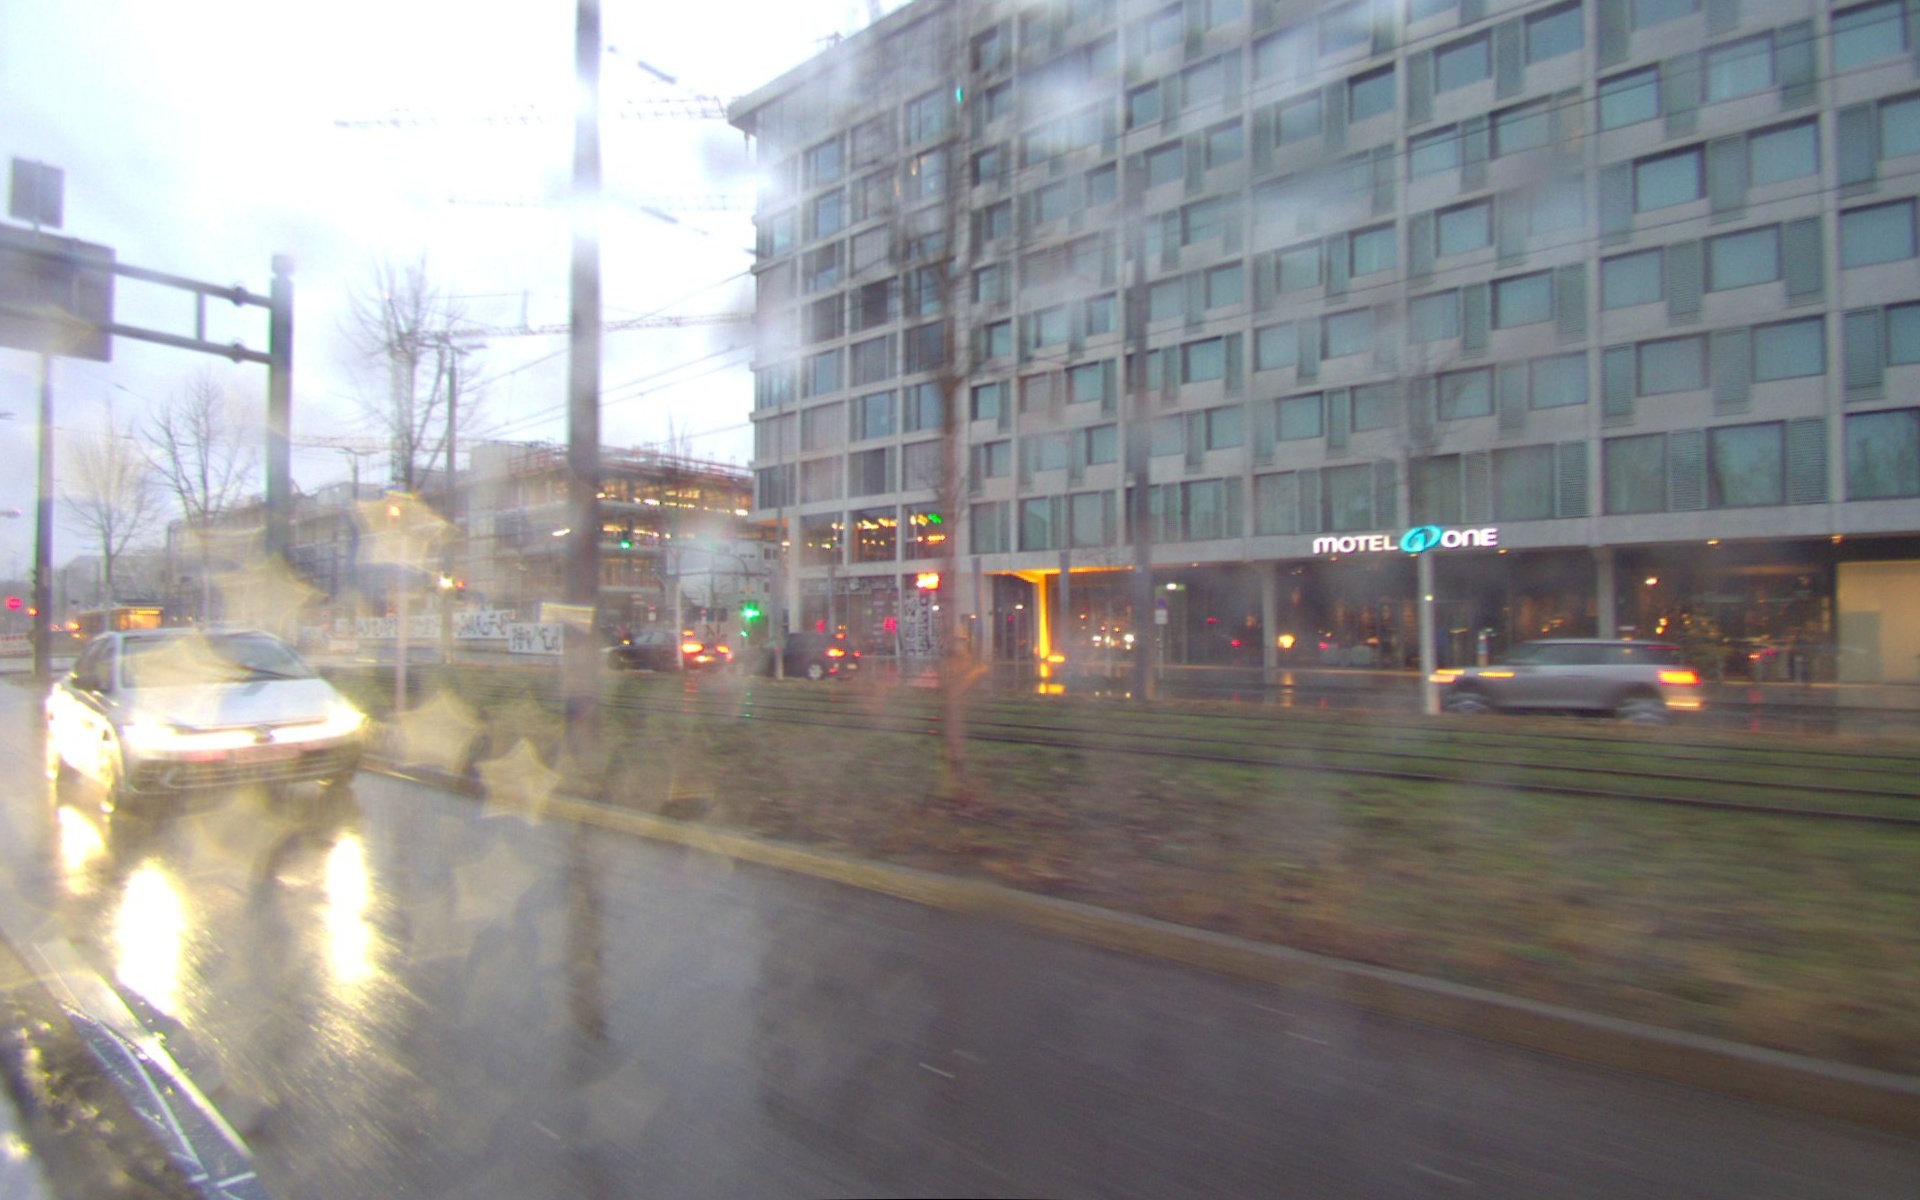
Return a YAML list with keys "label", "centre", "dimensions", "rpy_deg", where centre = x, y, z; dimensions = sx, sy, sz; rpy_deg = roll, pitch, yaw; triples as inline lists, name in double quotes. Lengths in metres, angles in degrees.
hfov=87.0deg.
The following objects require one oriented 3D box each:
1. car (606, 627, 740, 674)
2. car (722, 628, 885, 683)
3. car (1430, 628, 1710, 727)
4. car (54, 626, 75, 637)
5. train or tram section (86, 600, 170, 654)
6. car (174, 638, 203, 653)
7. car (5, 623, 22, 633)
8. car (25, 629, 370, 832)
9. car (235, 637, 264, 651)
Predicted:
- label: "car"
  centre: [-9.724, 1.652, 34.038]
  dimensions: [5.032, 1.479, 1.972]
  rpy_deg: [-2, -3, 42]
- label: "car"
  centre: [-4.584, 1.578, 29.616]
  dimensions: [4.425, 1.508, 1.983]
  rpy_deg: [-1, -2, 26]
- label: "car"
  centre: [10.031, 1.202, 16.763]
  dimensions: [3.704, 1.442, 1.876]
  rpy_deg: [-2, -3, 40]
- label: "car"
  centre: [-154.586, 5.414, 174.702]
  dimensions: [3.994, 1.837, 1.974]
  rpy_deg: [-2, -2, 38]
- label: "train or tram section"
  centre: [-59.766, 1.990, 72.516]
  dimensions: [14.268, 3.513, 2.924]
  rpy_deg: [-2, -3, 44]
- label: "car"
  centre: [-84.909, 4.957, 111.384]
  dimensions: [4.001, 1.577, 1.971]
  rpy_deg: [-2, -3, 44]
- label: "car"
  centre: [-177.693, 5.264, 189.960]
  dimensions: [3.998, 2.029, 1.973]
  rpy_deg: [-2, -3, 41]
- label: "car"
  centre: [-6.997, 0.982, 9.134]
  dimensions: [3.980, 1.381, 1.744]
  rpy_deg: [-1, -1, 41]
- label: "car"
  centre: [-80.365, 4.939, 114.426]
  dimensions: [4.001, 1.577, 1.971]
  rpy_deg: [-2, -3, 44]
